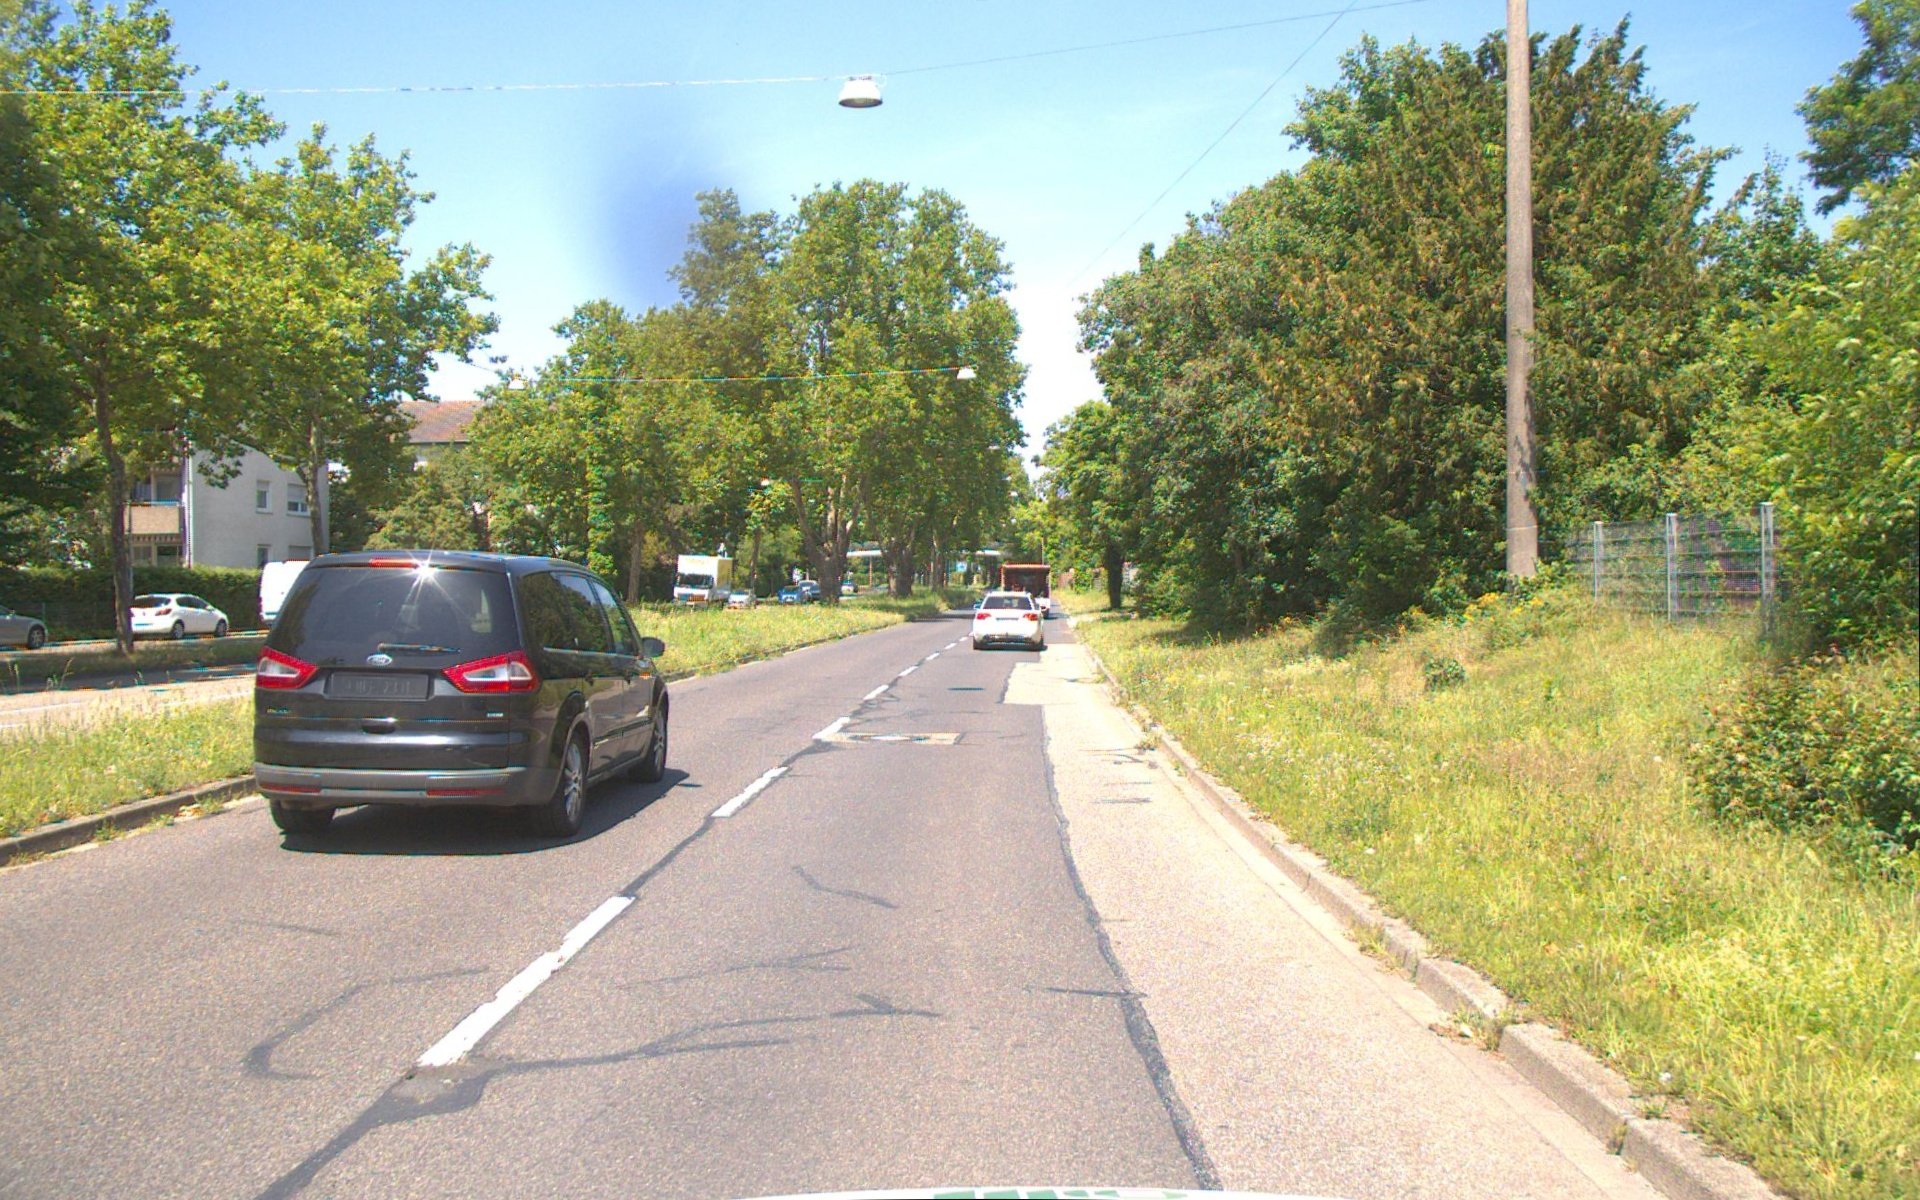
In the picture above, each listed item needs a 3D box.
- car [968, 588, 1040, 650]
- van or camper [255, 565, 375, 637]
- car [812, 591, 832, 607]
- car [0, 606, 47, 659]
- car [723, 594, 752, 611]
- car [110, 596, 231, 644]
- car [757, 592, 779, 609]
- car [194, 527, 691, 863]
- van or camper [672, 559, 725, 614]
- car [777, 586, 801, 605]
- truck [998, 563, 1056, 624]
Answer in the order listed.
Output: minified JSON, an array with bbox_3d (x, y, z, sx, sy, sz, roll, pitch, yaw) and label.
[{"bbox_3d":[1.140,0.444,41.757,1.726,1.470,3.617,1,0,2],"label":"car"},{"bbox_3d":[-24.757,0.000,63.725,2.136,2.632,5.312,-1,0,5],"label":"van or camper"},{"bbox_3d":[-12.083,-0.097,144.870,1.737,1.355,3.656,0,0,-6],"label":"car"},{"bbox_3d":[-26.666,0.882,44.277,1.841,1.400,4.003,0,0,8],"label":"car"},{"bbox_3d":[-16.085,0.157,119.734,1.877,1.231,4.330,0,0,-6],"label":"car"},{"bbox_3d":[-25.763,0.626,54.131,1.842,1.500,4.002,0,0,4],"label":"car"},{"bbox_3d":[-15.762,-0.002,136.173,1.737,1.355,3.656,0,0,-6],"label":"car"},{"bbox_3d":[-3.149,0.509,11.180,1.816,1.786,4.649,0,0,1],"label":"car"},{"bbox_3d":[-16.463,-0.832,104.444,2.607,3.389,5.499,0,0,-1],"label":"van or camper"},{"bbox_3d":[-12.821,-0.340,124.323,1.737,1.355,3.655,1,0,-6],"label":"car"},{"bbox_3d":[3.057,-0.348,76.929,2.459,2.604,7.604,1,1,1],"label":"truck"}]
